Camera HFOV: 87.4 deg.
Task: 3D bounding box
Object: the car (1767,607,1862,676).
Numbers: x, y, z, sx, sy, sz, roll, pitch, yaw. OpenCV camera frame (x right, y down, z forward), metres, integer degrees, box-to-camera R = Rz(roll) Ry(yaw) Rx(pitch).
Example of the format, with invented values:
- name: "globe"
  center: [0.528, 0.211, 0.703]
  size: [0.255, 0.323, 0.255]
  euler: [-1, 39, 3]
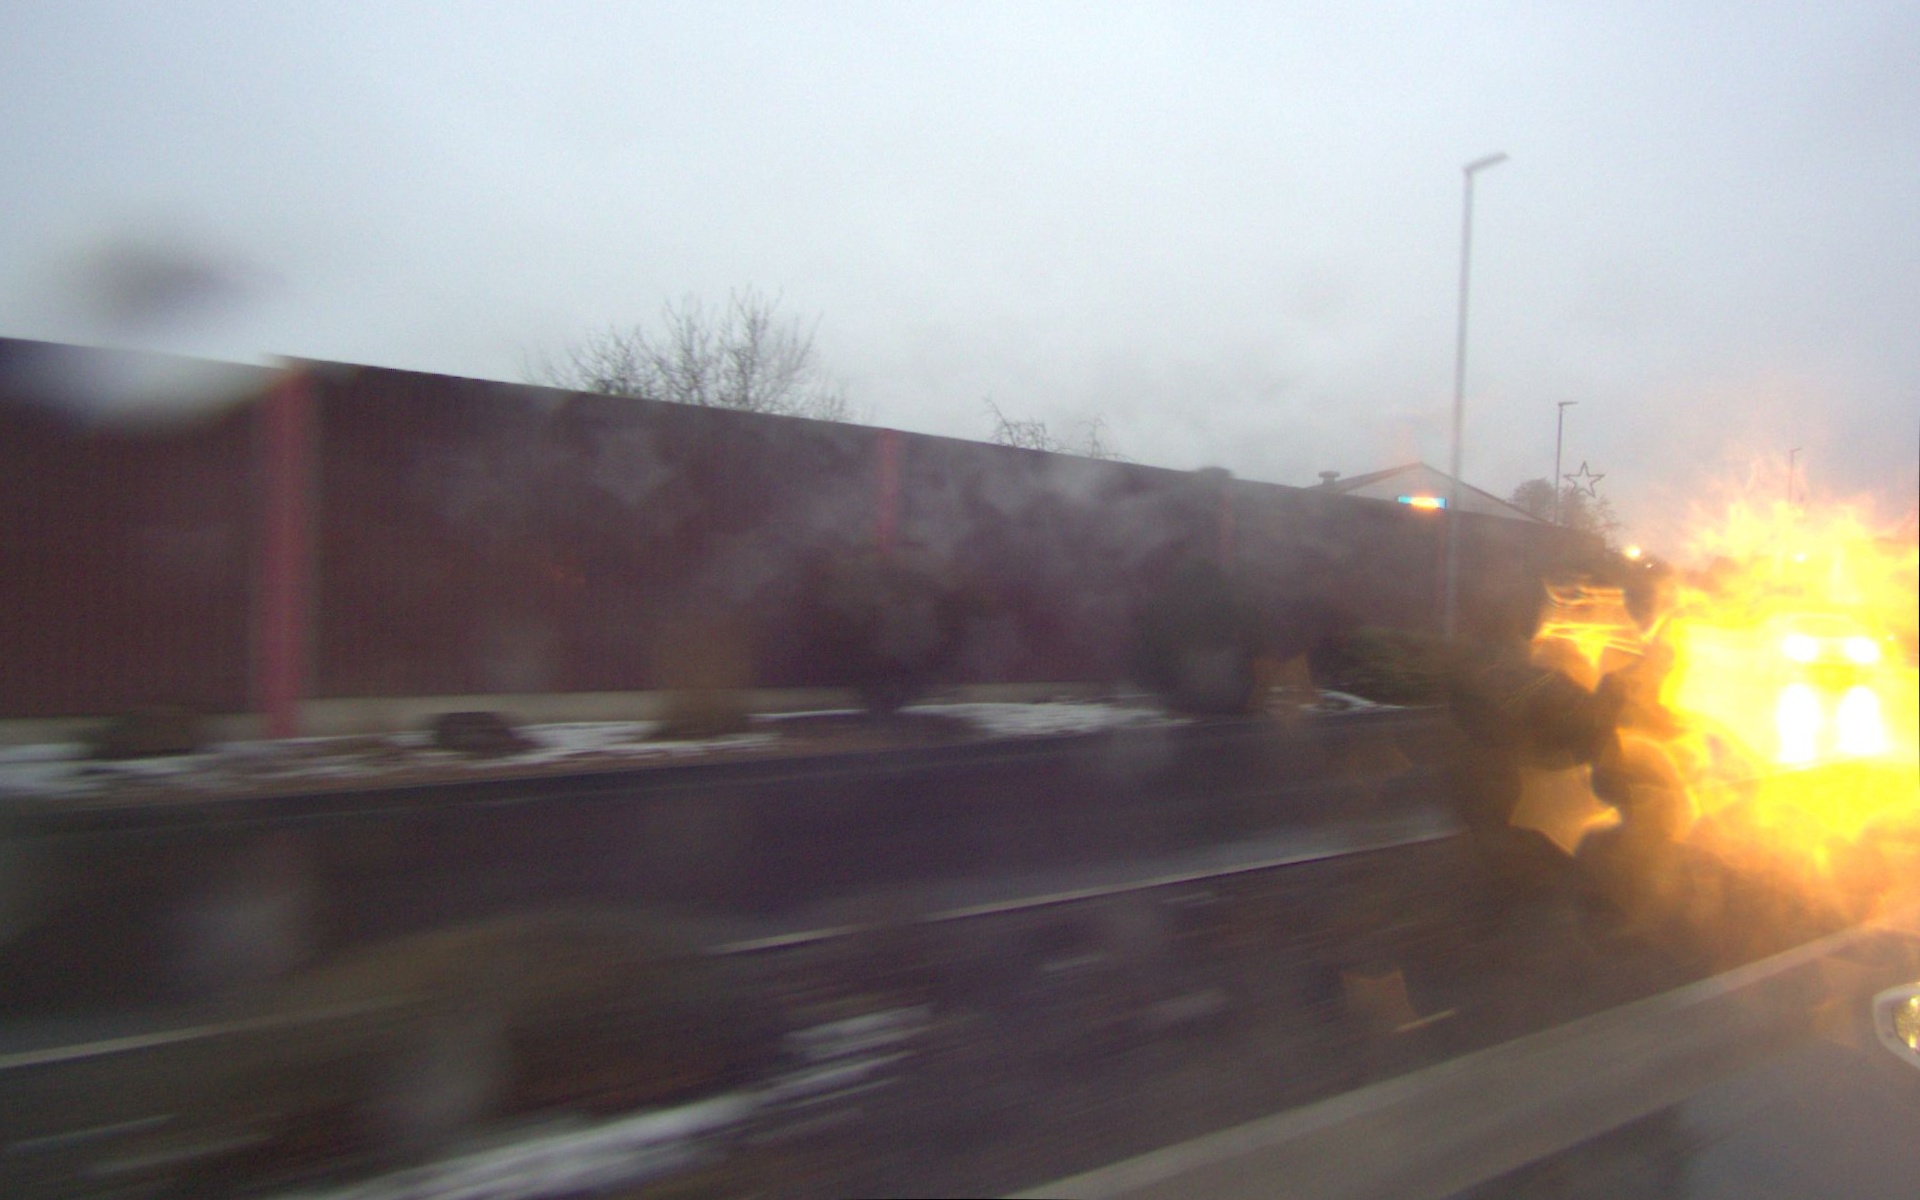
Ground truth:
- name: "car"
  center: [20.486, 0.946, 24.038]
  size: [1.589, 1.489, 3.665]
  euler: [2, 0, 42]
